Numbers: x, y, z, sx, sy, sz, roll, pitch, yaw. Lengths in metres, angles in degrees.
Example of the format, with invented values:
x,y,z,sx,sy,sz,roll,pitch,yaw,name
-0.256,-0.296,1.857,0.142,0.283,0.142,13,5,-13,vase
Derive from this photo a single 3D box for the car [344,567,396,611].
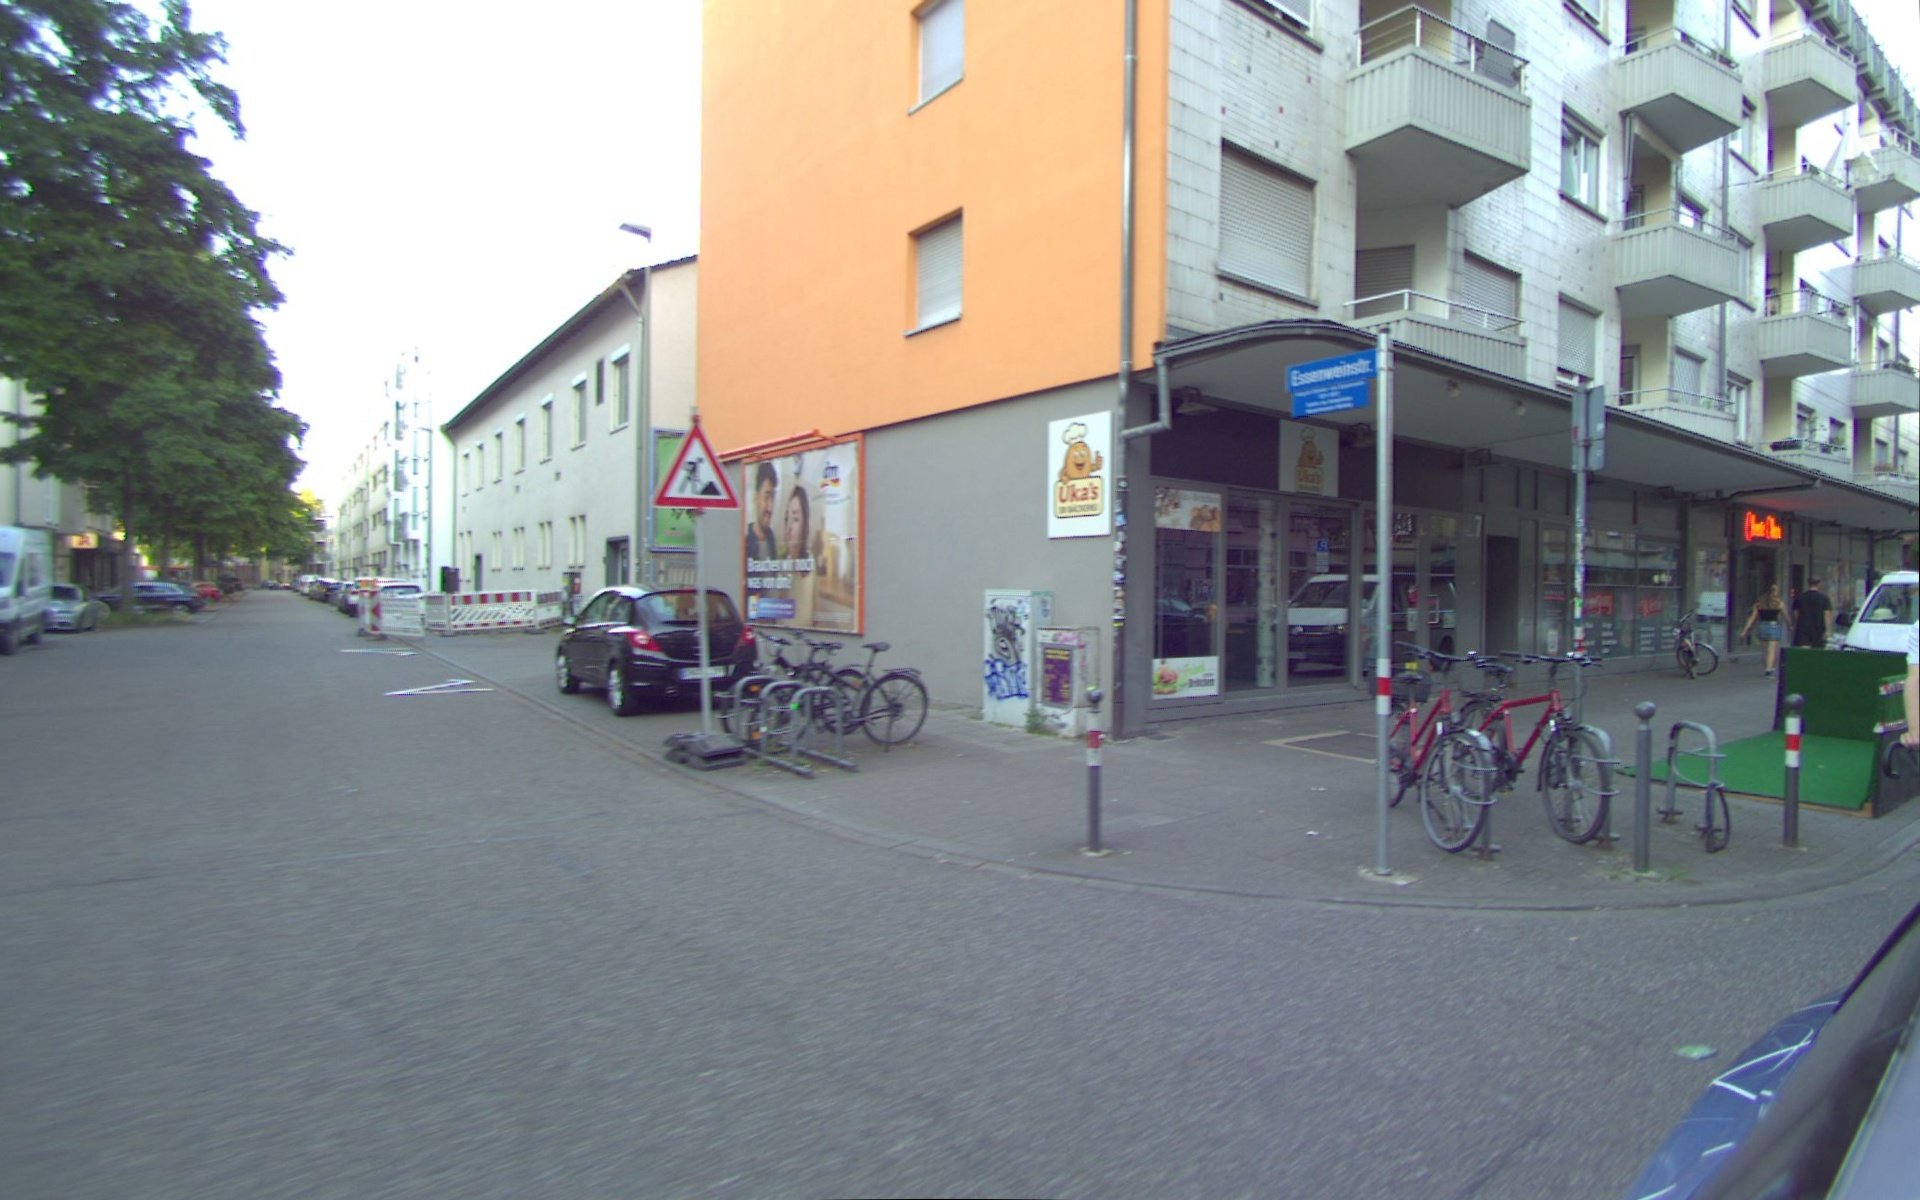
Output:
x,y,z,sx,sy,sz,roll,pitch,yaw,name
-25.187,-0.487,43.143,1.809,1.758,3.749,-1,1,-32,car

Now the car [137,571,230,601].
x,y,z,sx,sy,sz,roll,pitch,yaw,name
-46.060,-0.847,60.082,1.933,1.705,3.953,0,1,33,car

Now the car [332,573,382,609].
x,y,z,sx,sy,sz,roll,pitch,yaw,name
-28.188,-0.451,47.263,1.794,1.571,3.796,-1,1,-33,car

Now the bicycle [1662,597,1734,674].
x,y,z,sx,sy,sz,roll,pitch,yaw,name
13.180,0.594,18.054,0.909,1.210,1.687,4,4,39,bicycle

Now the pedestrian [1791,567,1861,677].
x,y,z,sx,sy,sz,roll,pitch,yaw,name
15.126,0.359,17.671,0.845,1.850,0.710,-1,3,-38,pedestrian

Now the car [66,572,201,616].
x,y,z,sx,sy,sz,roll,pitch,yaw,name
-33.446,-0.278,41.023,1.937,1.705,3.945,0,1,38,car

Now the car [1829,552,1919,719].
x,y,z,sx,sy,sz,roll,pitch,yaw,name
13.679,0.462,13.608,4.909,1.998,1.965,1,3,-37,car

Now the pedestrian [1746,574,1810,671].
x,y,z,sx,sy,sz,roll,pitch,yaw,name
14.894,0.388,18.428,0.731,1.686,0.710,-1,3,-38,pedestrian

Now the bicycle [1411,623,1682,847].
x,y,z,sx,sy,sz,roll,pitch,yaw,name
3.867,0.817,6.898,0.645,1.148,1.946,2,3,0,bicycle

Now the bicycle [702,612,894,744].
x,y,z,sx,sy,sz,roll,pitch,yaw,name
-1.510,0.693,9.578,1.723,1.080,0.565,-1,2,-33,bicycle

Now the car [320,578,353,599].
x,y,z,sx,sy,sz,roll,pitch,yaw,name
-37.521,-0.713,60.912,1.517,1.213,3.516,-1,1,-34,car

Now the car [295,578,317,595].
x,y,z,sx,sy,sz,roll,pitch,yaw,name
-59.887,-1.219,92.688,1.561,1.490,3.596,-1,1,-34,car

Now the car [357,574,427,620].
x,y,z,sx,sy,sz,roll,pitch,yaw,name
-19.170,-0.133,34.095,1.775,1.437,4.134,-1,1,-33,car

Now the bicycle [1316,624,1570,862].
x,y,z,sx,sy,sz,roll,pitch,yaw,name
3.002,0.814,6.556,0.645,1.148,1.946,2,3,0,bicycle

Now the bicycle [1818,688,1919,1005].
x,y,z,sx,sy,sz,roll,pitch,yaw,name
4.289,0.946,4.206,1.882,1.031,0.658,-1,1,-35,bicycle

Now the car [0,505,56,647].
x,y,z,sx,sy,sz,roll,pitch,yaw,name
-21.480,-0.540,22.018,2.036,2.769,6.780,3,-1,-37,car

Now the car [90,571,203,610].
x,y,z,sx,sy,sz,roll,pitch,yaw,name
-37.157,-0.473,46.299,3.930,1.705,1.944,-1,1,-40,car

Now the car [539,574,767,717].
x,y,z,sx,sy,sz,roll,pitch,yaw,name
-3.982,0.434,12.758,1.673,1.494,3.680,-1,2,-35,car

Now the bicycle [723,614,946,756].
x,y,z,sx,sy,sz,roll,pitch,yaw,name
-1.091,0.710,9.062,1.925,1.080,0.565,-1,3,-33,bicycle

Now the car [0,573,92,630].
x,y,z,sx,sy,sz,roll,pitch,yaw,name
-26.861,-0.005,29.746,1.735,1.560,4.098,-1,1,-37,car

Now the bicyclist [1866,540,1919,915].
x,y,z,sx,sy,sz,roll,pitch,yaw,name
4.382,0.513,4.262,0.935,1.527,0.651,-1,1,-35,bicyclist

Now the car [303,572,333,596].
x,y,z,sx,sy,sz,roll,pitch,yaw,name
-42.242,-1.053,66.565,1.561,1.560,3.596,-1,1,-34,car

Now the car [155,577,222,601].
x,y,z,sx,sy,sz,roll,pitch,yaw,name
-58.055,-0.863,76.157,3.930,1.705,1.944,-1,1,-40,car

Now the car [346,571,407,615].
x,y,z,sx,sy,sz,roll,pitch,yaw,name
-22.463,-0.294,38.908,1.839,1.615,3.755,-1,1,-33,car
